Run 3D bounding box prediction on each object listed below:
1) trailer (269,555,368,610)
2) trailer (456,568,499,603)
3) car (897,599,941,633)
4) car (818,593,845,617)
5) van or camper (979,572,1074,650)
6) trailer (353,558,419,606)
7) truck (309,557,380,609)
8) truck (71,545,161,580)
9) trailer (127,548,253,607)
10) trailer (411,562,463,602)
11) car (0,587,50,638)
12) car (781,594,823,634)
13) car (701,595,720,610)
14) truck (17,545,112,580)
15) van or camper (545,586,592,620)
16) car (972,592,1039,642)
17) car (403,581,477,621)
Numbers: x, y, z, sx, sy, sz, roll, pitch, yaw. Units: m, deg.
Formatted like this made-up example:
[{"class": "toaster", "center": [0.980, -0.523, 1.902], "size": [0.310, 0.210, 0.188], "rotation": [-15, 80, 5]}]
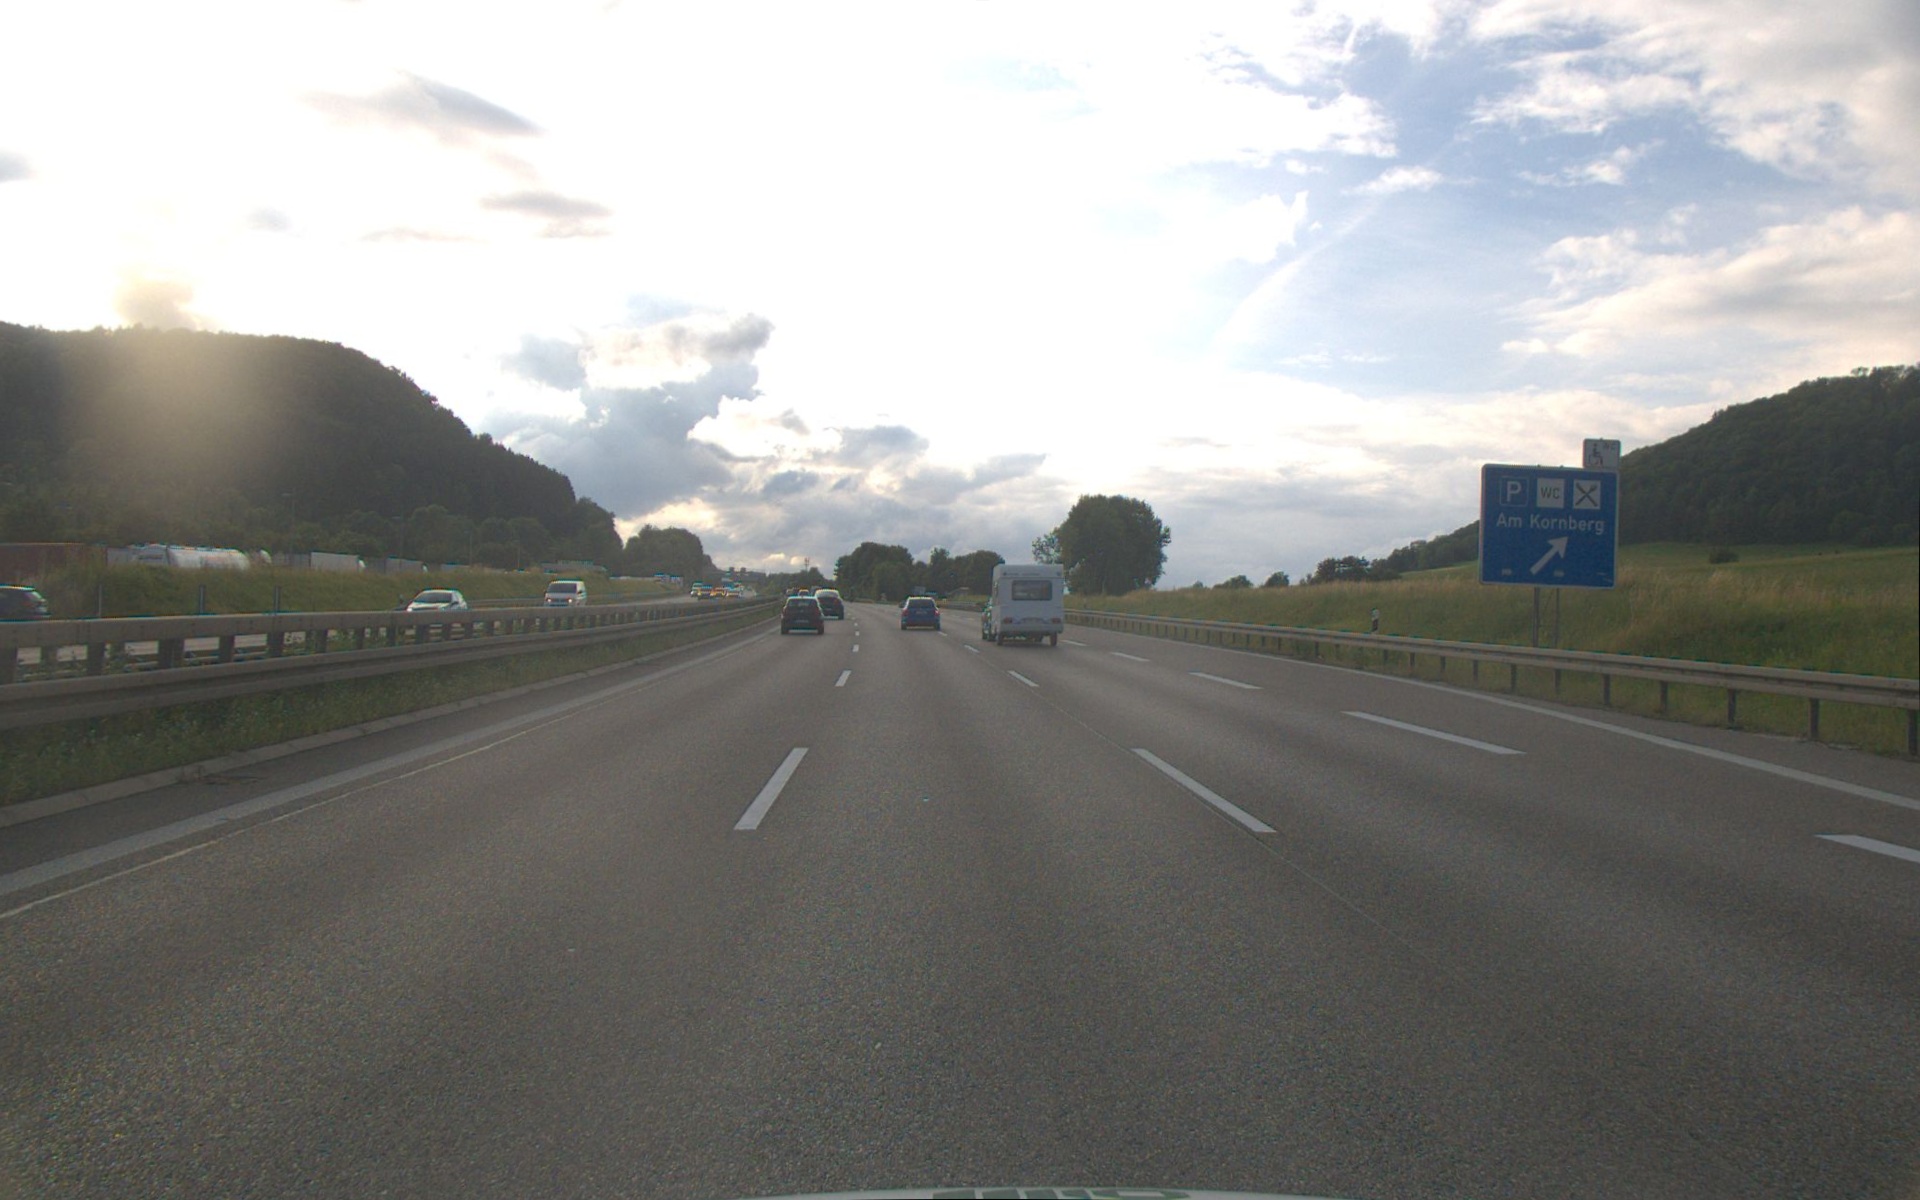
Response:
[{"class": "trailer", "center": [-45.724, -1.188, 118.425], "size": [2.821, 3.761, 13.662], "rotation": [0, 0, -5]}, {"class": "trailer", "center": [-53.613, -1.563, 184.034], "size": [2.822, 3.761, 10.359], "rotation": [0, 0, -6]}, {"class": "car", "center": [-1.857, 0.710, 74.201], "size": [1.732, 1.458, 3.996], "rotation": [-1, 0, -5]}, {"class": "car", "center": [-7.652, 0.274, 98.699], "size": [1.534, 1.404, 3.997], "rotation": [0, 0, -4]}, {"class": "van or camper", "center": [2.130, 0.423, 54.606], "size": [2.498, 2.279, 5.322], "rotation": [1, -3, -5]}, {"class": "trailer", "center": [-48.754, -1.403, 140.789], "size": [2.824, 3.761, 13.648], "rotation": [-1, 0, -9]}, {"class": "truck", "center": [-46.242, -1.191, 124.481], "size": [2.825, 3.755, 8.484], "rotation": [0, 0, -5]}, {"class": "truck", "center": [-58.585, -2.553, 114.743], "size": [7.168, 2.265, 2.887], "rotation": [0, -1, 38]}, {"class": "trailer", "center": [-43.624, -1.151, 94.208], "size": [2.529, 2.903, 12.247], "rotation": [1, -1, -6]}, {"class": "trailer", "center": [-51.070, -1.689, 161.869], "size": [2.822, 3.761, 10.359], "rotation": [0, 0, -6]}, {"class": "car", "center": [-31.653, 0.388, 52.394], "size": [4.521, 1.578, 1.995], "rotation": [0, 0, -11]}, {"class": "car", "center": [-6.196, 0.523, 65.098], "size": [1.508, 1.371, 3.675], "rotation": [1, 2, -4]}, {"class": "car", "center": [-29.352, 0.330, 194.704], "size": [1.771, 1.642, 4.336], "rotation": [1, -1, -4]}, {"class": "truck", "center": [-58.884, -2.435, 108.724], "size": [7.168, 2.049, 2.887], "rotation": [0, -2, 38]}, {"class": "van or camper", "center": [-22.679, 0.151, 96.028], "size": [1.877, 1.906, 4.751], "rotation": [0, 0, -4]}, {"class": "car", "center": [1.585, 0.570, 59.515], "size": [1.752, 1.681, 4.475], "rotation": [1, 0, -7]}, {"class": "car", "center": [-20.823, 0.039, 66.420], "size": [1.955, 1.523, 4.686], "rotation": [0, 0, -6]}]
